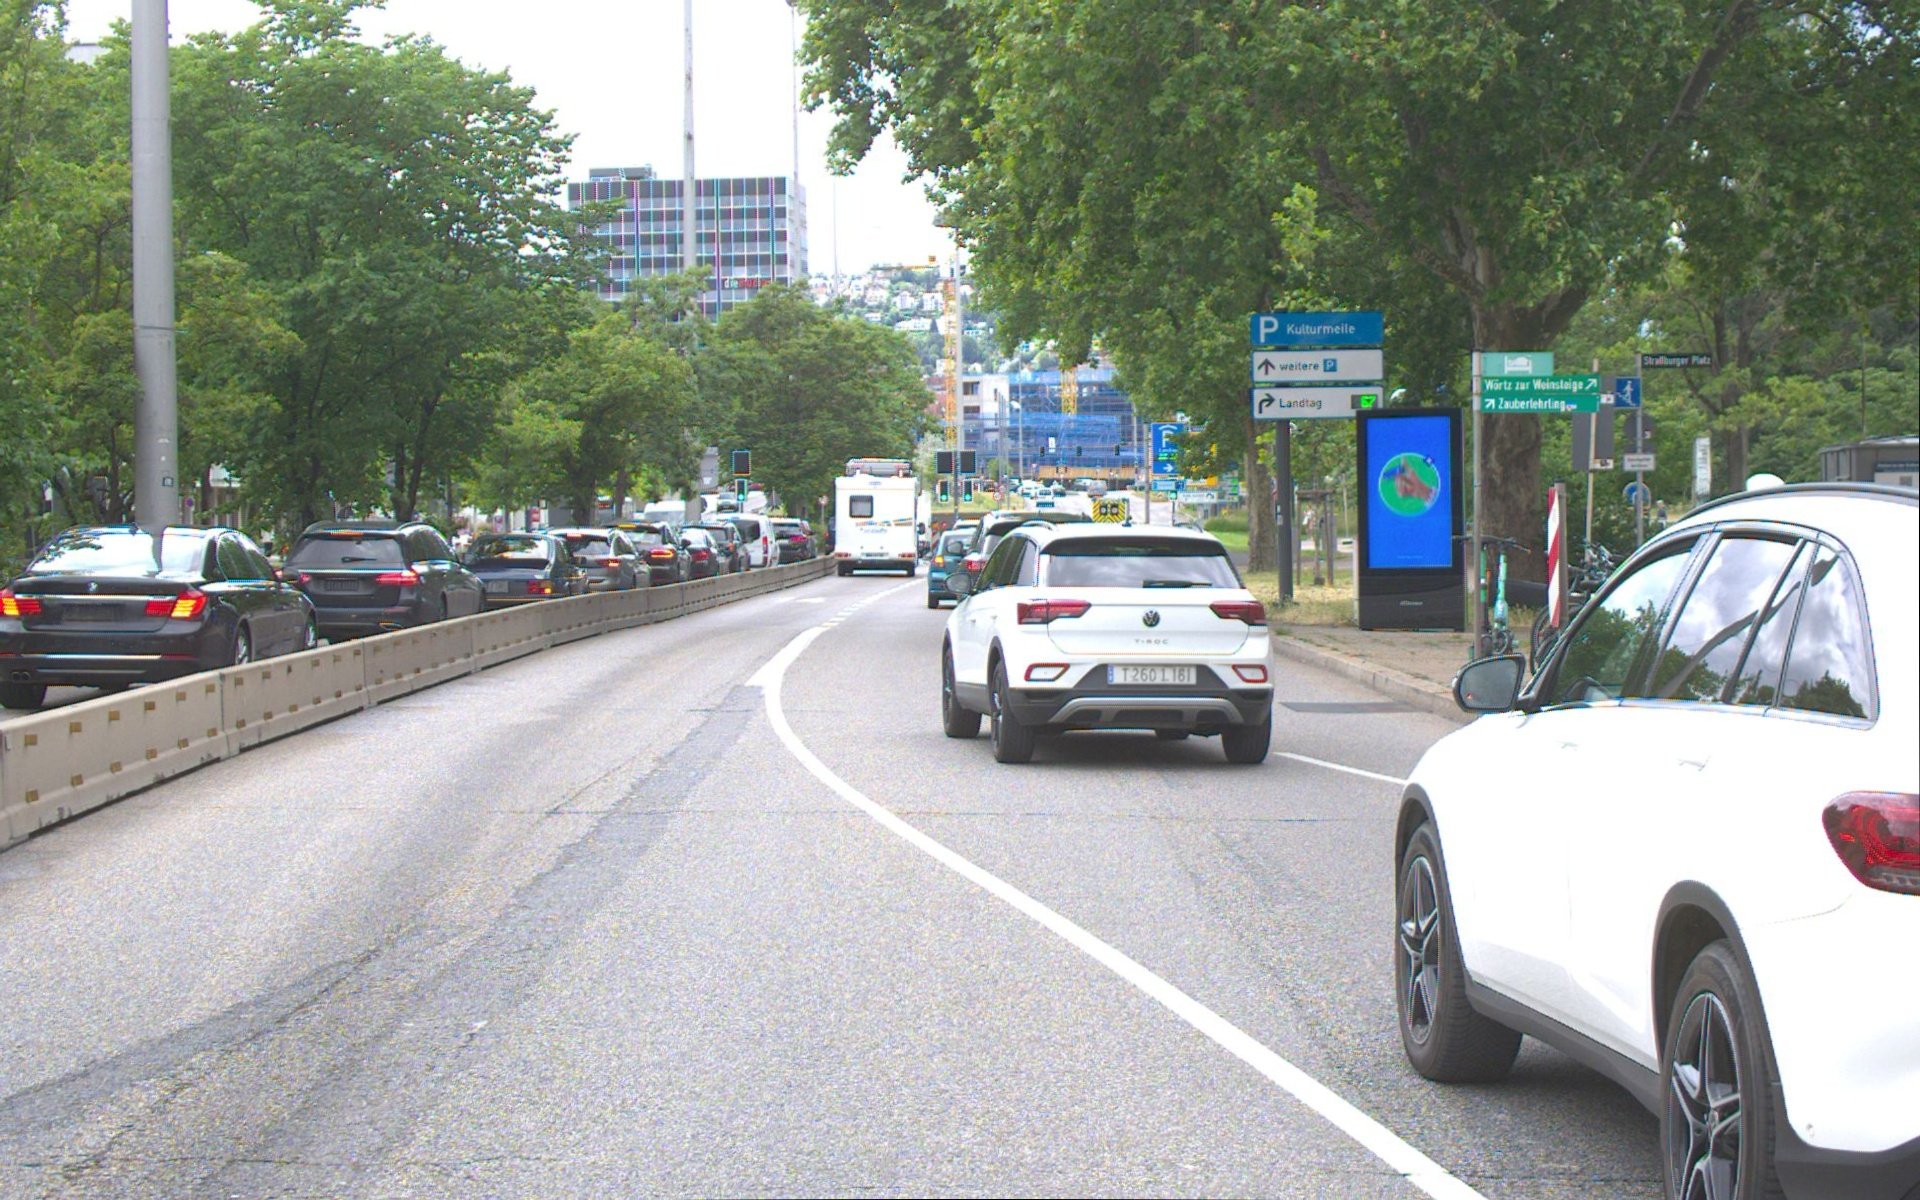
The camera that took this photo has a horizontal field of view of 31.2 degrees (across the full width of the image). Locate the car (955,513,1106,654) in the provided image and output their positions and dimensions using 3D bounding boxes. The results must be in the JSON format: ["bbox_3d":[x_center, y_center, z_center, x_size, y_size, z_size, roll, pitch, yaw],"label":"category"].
[{"bbox_3d":[0.818,-0.220,41.997,1.659,1.633,3.548,0,1,-2],"label":"car"}]

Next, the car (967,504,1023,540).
[{"bbox_3d":[1.323,-2.895,128.351,1.947,1.315,4.016,0,1,2],"label":"car"}]

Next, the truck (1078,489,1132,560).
[{"bbox_3d":[8.550,-4.451,203.548,2.877,4.089,6.638,1,1,1],"label":"truck"}]

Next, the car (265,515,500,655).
[{"bbox_3d":[-6.524,-0.211,39.329,1.816,1.494,4.769,0,1,1],"label":"car"}]

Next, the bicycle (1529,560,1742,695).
[{"bbox_3d":[5.677,0.222,28.965,1.729,1.087,0.574,1,1,9],"label":"bicycle"}]

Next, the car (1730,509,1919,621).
[{"bbox_3d":[13.023,-0.509,48.782,3.836,1.563,1.679,0,1,1],"label":"car"}]

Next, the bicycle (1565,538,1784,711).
[{"bbox_3d":[5.399,0.174,25.982,1.544,1.252,0.542,1,1,19],"label":"bicycle"}]

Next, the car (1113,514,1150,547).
[{"bbox_3d":[8.873,-3.598,178.096,1.758,1.663,4.168,0,1,1],"label":"car"}]

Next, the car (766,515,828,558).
[{"bbox_3d":[-5.168,-2.018,109.490,1.659,1.315,3.547,0,1,2],"label":"car"}]

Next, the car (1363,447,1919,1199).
[{"bbox_3d":[2.251,0.524,7.979,1.788,1.619,4.438,0,1,-4],"label":"car"}]

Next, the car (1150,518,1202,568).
[{"bbox_3d":[8.891,-2.345,141.779,1.993,2.007,4.000,0,1,2],"label":"car"}]

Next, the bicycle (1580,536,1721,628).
[{"bbox_3d":[9.150,-0.239,45.592,1.785,1.216,0.492,0,1,4],"label":"bicycle"}]

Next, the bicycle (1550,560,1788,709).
[{"bbox_3d":[5.283,0.248,25.622,1.664,1.070,0.584,1,1,20],"label":"bicycle"}]

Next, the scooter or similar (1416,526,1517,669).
[{"bbox_3d":[4.816,-0.036,32.762,0.725,1.327,1.413,1,1,0],"label":"scooter or similar"}]

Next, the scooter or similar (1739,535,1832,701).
[{"bbox_3d":[6.548,0.130,27.303,0.562,1.274,1.148,1,1,7],"label":"scooter or similar"}]

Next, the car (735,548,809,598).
[{"bbox_3d":[-5.025,-0.741,92.261,1.659,1.315,3.547,0,1,2],"label":"car"}]

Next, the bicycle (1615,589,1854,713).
[{"bbox_3d":[5.922,0.379,26.290,1.730,0.914,0.613,0,1,20],"label":"bicycle"}]

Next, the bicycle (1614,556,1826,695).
[{"bbox_3d":[5.864,0.190,26.550,1.564,1.024,0.436,1,1,12],"label":"bicycle"}]

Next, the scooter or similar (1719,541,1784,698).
[{"bbox_3d":[6.322,0.148,27.496,0.426,1.220,1.312,1,1,11],"label":"scooter or similar"}]

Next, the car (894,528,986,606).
[{"bbox_3d":[-0.352,-0.629,64.608,1.659,1.408,3.547,0,1,1],"label":"car"}]

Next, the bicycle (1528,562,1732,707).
[{"bbox_3d":[5.349,0.269,27.410,1.609,1.126,0.470,0,1,-25],"label":"bicycle"}]

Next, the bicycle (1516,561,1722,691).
[{"bbox_3d":[5.757,0.218,30.016,1.729,1.087,0.425,1,1,14],"label":"bicycle"}]

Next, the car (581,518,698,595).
[{"bbox_3d":[-6.080,-0.850,65.547,1.776,1.415,4.000,0,1,1],"label":"car"}]

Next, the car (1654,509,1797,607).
[{"bbox_3d":[13.593,-0.771,61.220,1.760,1.546,4.027,0,3,2],"label":"car"}]

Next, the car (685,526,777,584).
[{"bbox_3d":[-5.339,-1.054,80.528,1.659,1.315,3.547,1,1,4],"label":"car"}]

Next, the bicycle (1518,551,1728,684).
[{"bbox_3d":[5.660,0.144,29.360,1.729,1.087,0.380,1,1,14],"label":"bicycle"}]

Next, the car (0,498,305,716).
[{"bbox_3d":[-6.648,0.012,28.314,1.923,1.630,4.937,0,1,-4],"label":"car"}]

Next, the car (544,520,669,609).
[{"bbox_3d":[-5.946,-0.604,58.155,1.661,1.431,3.960,0,1,1],"label":"car"}]

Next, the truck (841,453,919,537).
[{"bbox_3d":[-2.980,-3.916,129.622,2.692,2.981,5.638,2,1,0],"label":"truck"}]

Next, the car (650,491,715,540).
[{"bbox_3d":[-11.409,-3.472,141.636,2.115,1.962,5.578,-1,1,1],"label":"car"}]

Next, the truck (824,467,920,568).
[{"bbox_3d":[-2.568,-2.439,102.136,2.621,2.851,7.079,1,1,0],"label":"truck"}]

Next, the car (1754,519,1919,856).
[{"bbox_3d":[5.102,0.381,15.750,1.788,1.481,4.326,0,1,-2],"label":"car"}]

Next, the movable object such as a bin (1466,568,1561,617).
[{"bbox_3d":[7.797,-0.105,48.421,1.299,0.650,0.728,2,0,10],"label":"movable object such as a bin"}]

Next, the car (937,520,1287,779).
[{"bbox_3d":[0.939,0.281,23.255,1.795,1.603,3.756,0,1,-6],"label":"car"}]

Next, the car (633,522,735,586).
[{"bbox_3d":[-5.871,-0.984,73.459,1.659,1.315,3.547,1,1,4],"label":"car"}]

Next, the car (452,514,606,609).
[{"bbox_3d":[-6.413,-0.603,51.563,1.678,1.362,4.543,0,1,1],"label":"car"}]
